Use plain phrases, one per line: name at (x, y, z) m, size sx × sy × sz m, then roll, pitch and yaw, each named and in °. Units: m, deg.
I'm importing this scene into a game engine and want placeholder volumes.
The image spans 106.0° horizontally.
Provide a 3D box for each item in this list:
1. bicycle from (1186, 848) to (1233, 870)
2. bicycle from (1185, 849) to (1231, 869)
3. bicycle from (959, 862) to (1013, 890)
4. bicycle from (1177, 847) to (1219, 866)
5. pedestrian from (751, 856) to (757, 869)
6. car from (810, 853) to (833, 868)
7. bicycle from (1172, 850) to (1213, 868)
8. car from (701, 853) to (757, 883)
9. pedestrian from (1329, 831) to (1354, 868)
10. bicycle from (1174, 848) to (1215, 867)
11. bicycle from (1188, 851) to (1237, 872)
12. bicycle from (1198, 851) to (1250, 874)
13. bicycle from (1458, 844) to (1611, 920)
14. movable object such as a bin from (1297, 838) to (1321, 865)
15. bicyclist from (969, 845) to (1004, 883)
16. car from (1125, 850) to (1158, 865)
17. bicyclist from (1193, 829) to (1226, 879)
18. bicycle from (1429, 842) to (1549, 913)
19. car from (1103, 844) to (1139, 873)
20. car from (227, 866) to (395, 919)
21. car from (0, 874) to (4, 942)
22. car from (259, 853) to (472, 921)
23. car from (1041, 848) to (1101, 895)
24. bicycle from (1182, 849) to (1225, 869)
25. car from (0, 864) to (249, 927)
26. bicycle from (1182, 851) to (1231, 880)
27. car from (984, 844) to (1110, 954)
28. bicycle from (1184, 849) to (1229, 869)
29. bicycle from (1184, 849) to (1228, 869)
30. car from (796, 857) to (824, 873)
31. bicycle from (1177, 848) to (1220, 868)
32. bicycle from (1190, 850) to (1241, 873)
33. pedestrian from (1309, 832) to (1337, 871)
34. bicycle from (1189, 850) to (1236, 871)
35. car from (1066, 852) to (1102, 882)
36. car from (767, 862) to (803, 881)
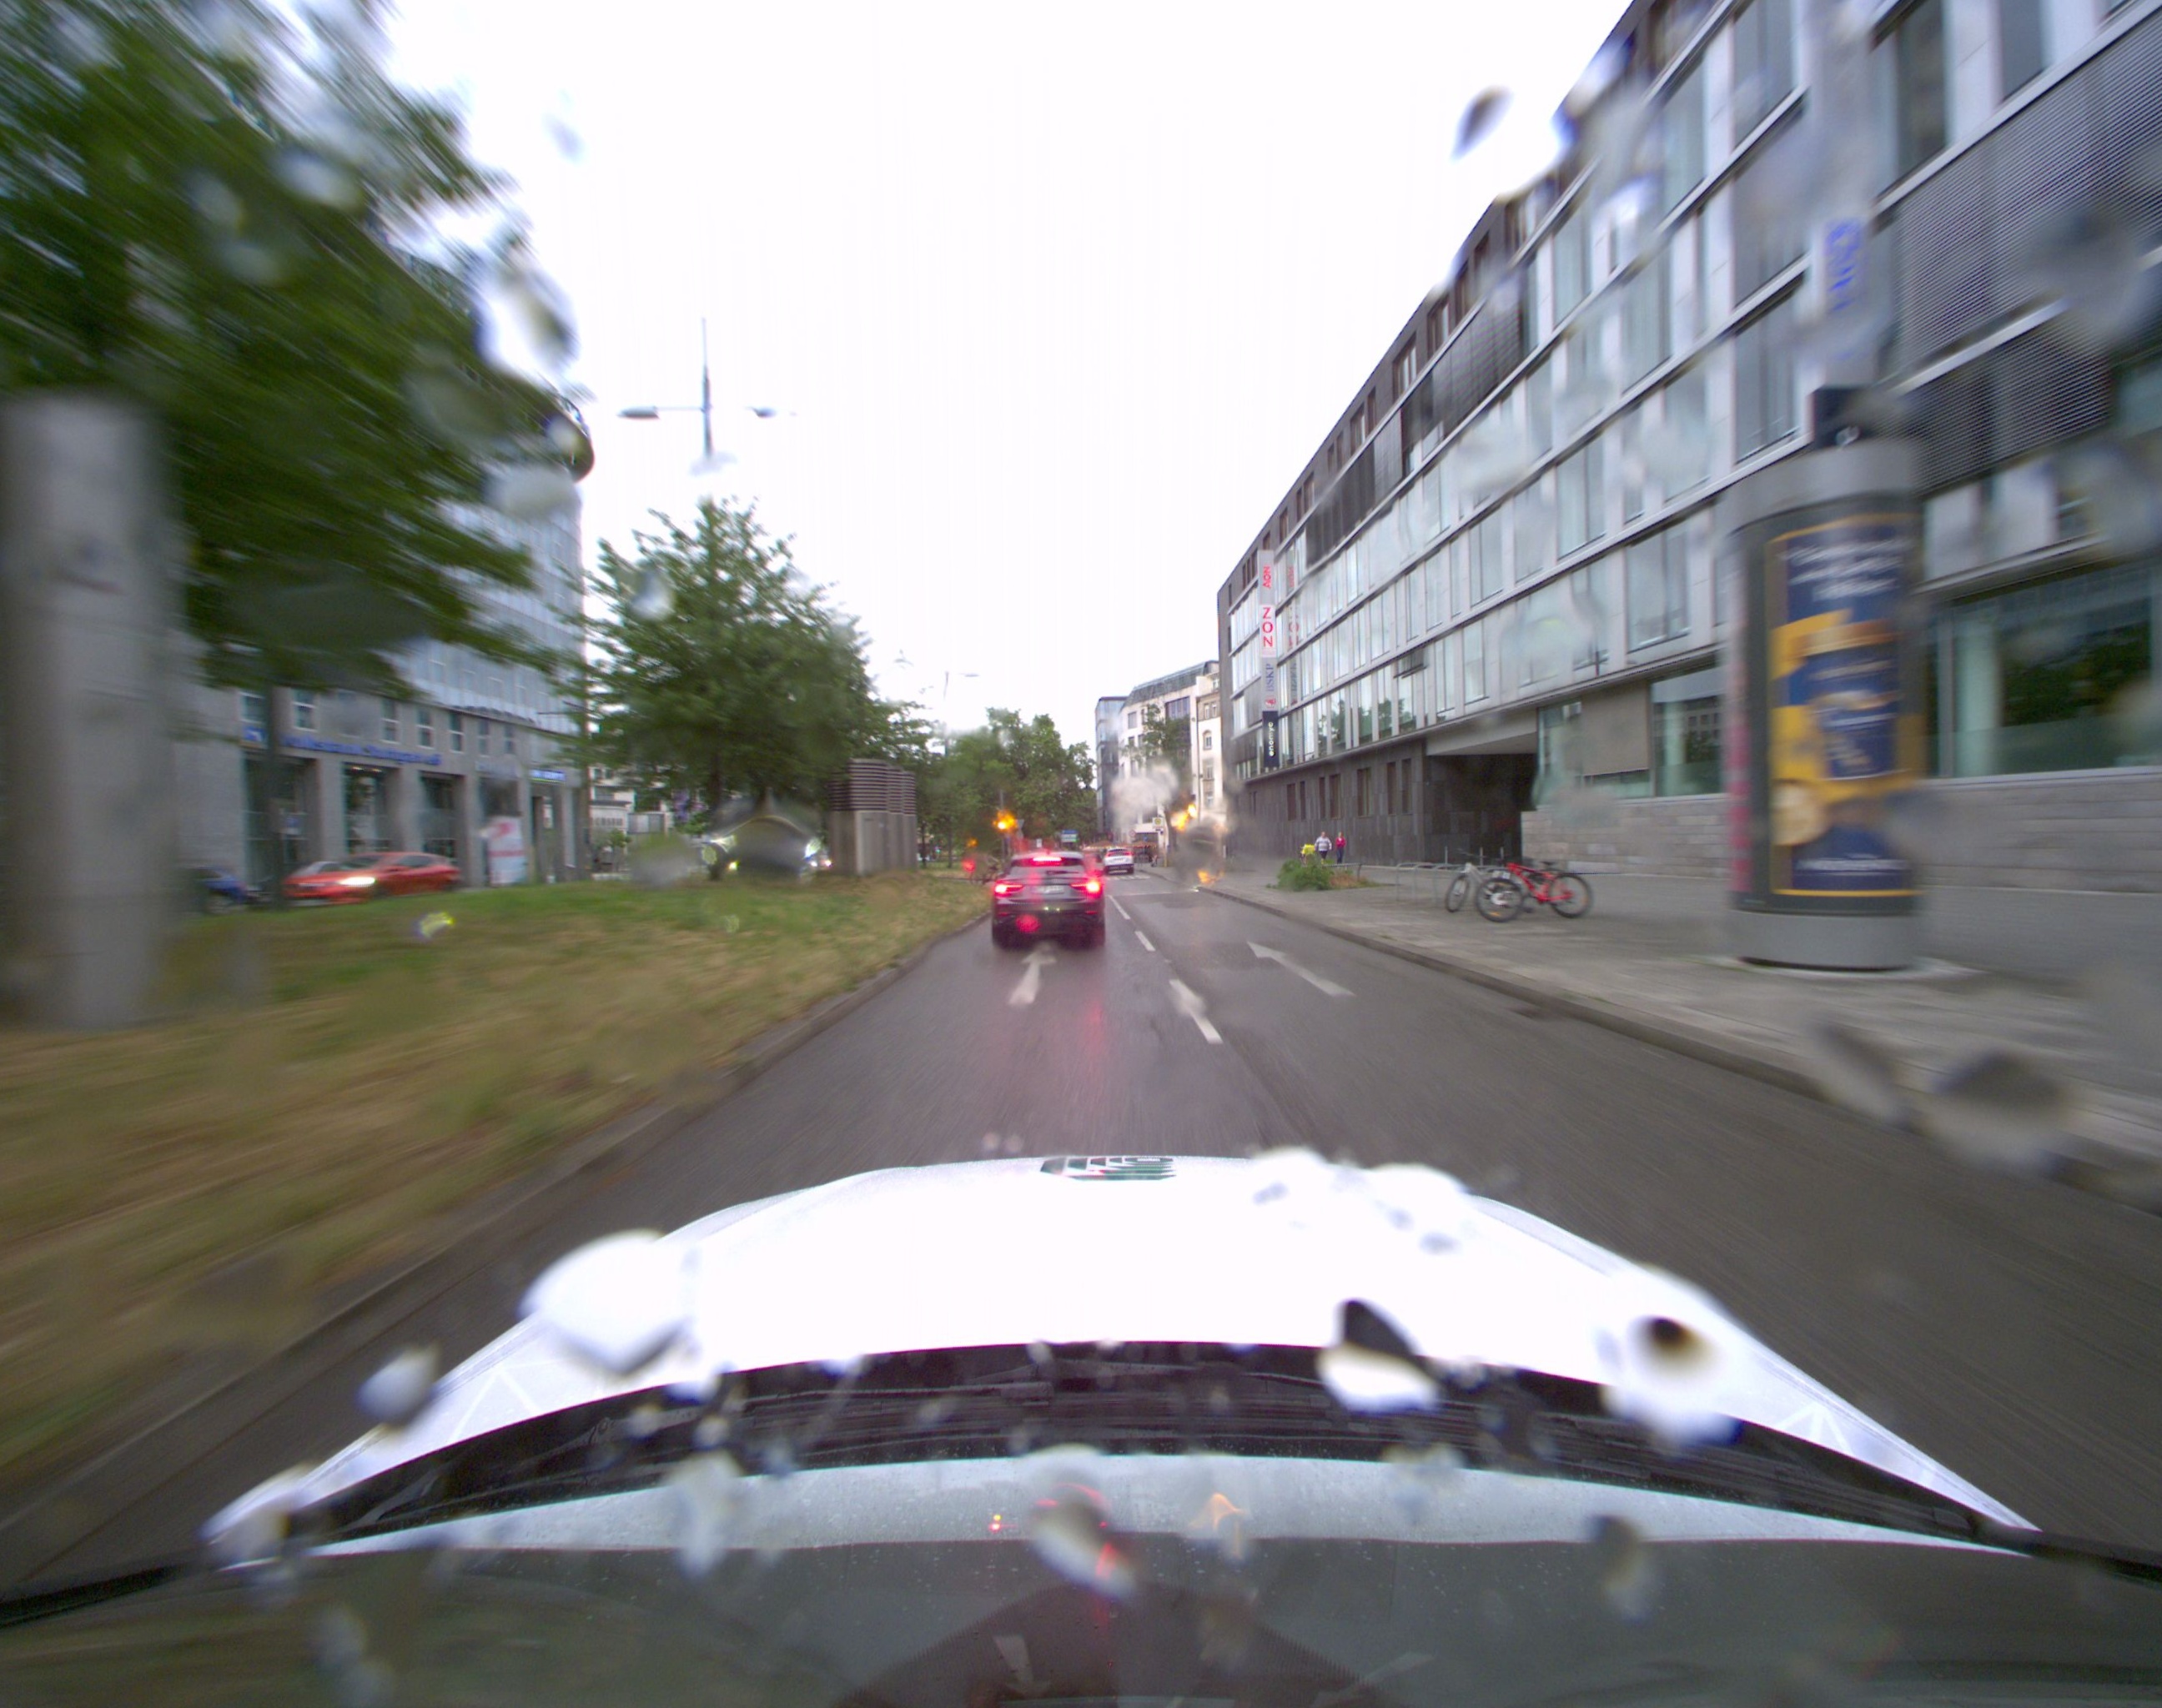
bicycle at (7.342, 0.282, 46.529) m, size 2.530 × 1.087 × 0.677 m, roll -3°, pitch 0°, yaw -3°
bicycle at (7.381, 0.282, 47.395) m, size 2.530 × 1.060 × 0.677 m, roll -3°, pitch 0°, yaw -3°
bicycle at (-4.049, 0.926, 34.890) m, size 2.043 × 1.114 × 1.017 m, roll 1°, pitch 0°, yaw 21°
bicycle at (7.458, 0.148, 52.073) m, size 2.530 × 1.087 × 0.677 m, roll -3°, pitch 0°, yaw -3°
pedestrian at (-51.034, 1.291, 127.239) m, size 0.790 × 2.014 × 0.737 m, roll 0°, pitch 0°, yaw -14°
car at (-31.289, 0.781, 98.271) m, size 1.723 × 1.727 × 4.572 m, roll -2°, pitch 0°, yaw -7°
bicycle at (7.357, 0.311, 53.713) m, size 2.530 × 1.087 × 0.677 m, roll -3°, pitch 0°, yaw -3°
car at (-21.095, 0.805, 48.973) m, size 1.943 × 1.700 × 3.991 m, roll -2°, pitch 0°, yaw -7°
pedestrian at (12.599, -0.223, 39.423) m, size 0.716 × 1.690 × 1.099 m, roll -4°, pitch 0°, yaw -3°
bicycle at (7.372, 0.239, 52.965) m, size 2.530 × 1.087 × 0.677 m, roll -3°, pitch 0°, yaw -3°
bicycle at (7.036, 0.398, 43.644) m, size 2.530 × 1.087 × 0.677 m, roll 0°, pitch 0°, yaw -3°
bicycle at (7.253, 0.418, 41.354) m, size 2.530 × 1.057 × 0.677 m, roll -2°, pitch 0°, yaw -3°
bicycle at (7.311, 0.437, 13.207) m, size 1.974 × 1.104 × 0.809 m, roll -3°, pitch 0°, yaw 5°
movable object such as a bin at (11.364, -0.132, 40.622) m, size 0.729 × 1.264 × 1.444 m, roll -4°, pitch 0°, yaw -1°
bicyclist at (-4.039, 0.437, 34.899) m, size 1.123 × 1.582 × 1.020 m, roll 0°, pitch 0°, yaw 21°
car at (7.527, 0.419, 101.597) m, size 3.972 × 1.647 × 2.001 m, roll 2°, pitch 0°, yaw 1°
bicyclist at (5.528, 0.011, 34.990) m, size 1.090 × 2.083 × 0.754 m, roll -2°, pitch -1°, yaw -37°
bicycle at (7.516, 0.423, 15.056) m, size 1.827 × 1.197 × 0.661 m, roll -3°, pitch 0°, yaw 5°
car at (2.534, 0.270, 51.272) m, size 2.170 × 1.700 × 4.004 m, roll -2°, pitch 0°, yaw 3°
car at (-25.024, 1.193, 26.691) m, size 1.772 × 1.401 × 4.011 m, roll -2°, pitch 1°, yaw -4°
car at (-23.319, 1.189, 14.601) m, size 1.771 × 1.401 × 4.682 m, roll -2°, pitch 1°, yaw -1°
car at (-17.671, 0.733, 20.432) m, size 1.859 × 1.429 × 4.125 m, roll -2°, pitch 1°, yaw -5°
car at (-0.413, 0.634, 32.562) m, size 2.156 × 1.706 × 4.551 m, roll -2°, pitch 0°, yaw -1°
bicycle at (7.610, 0.319, 50.475) m, size 2.530 × 1.087 × 0.677 m, roll -3°, pitch 0°, yaw -3°
car at (-24.518, 0.988, 20.924) m, size 1.889 × 1.325 × 4.469 m, roll -2°, pitch 0°, yaw -5°
bicycle at (5.377, 0.497, 34.846) m, size 2.143 × 1.145 × 0.754 m, roll -2°, pitch -1°, yaw -37°
car at (-0.431, 0.652, 14.335) m, size 1.840 × 1.616 × 4.255 m, roll -1°, pitch 1°, yaw 2°
bicycle at (7.444, 0.284, 48.303) m, size 2.530 × 1.087 × 0.677 m, roll -3°, pitch 0°, yaw -3°
bicycle at (7.584, 0.322, 49.496) m, size 2.530 × 1.087 × 0.677 m, roll -3°, pitch 0°, yaw -3°
car at (-27.551, 1.083, 82.988) m, size 1.817 × 1.475 × 4.183 m, roll -2°, pitch 0°, yaw -7°
bicycle at (7.399, 0.246, 51.322) m, size 2.530 × 1.087 × 0.677 m, roll -3°, pitch 0°, yaw -3°
bicycle at (7.082, 0.393, 42.838) m, size 2.530 × 1.087 × 0.677 m, roll -2°, pitch 0°, yaw -3°
pedestrian at (11.641, -0.118, 39.221) m, size 0.898 × 1.792 × 1.045 m, roll -4°, pitch 0°, yaw -3°
bicycle at (7.371, 0.365, 45.716) m, size 2.530 × 1.087 × 0.677 m, roll -3°, pitch 0°, yaw -3°
car at (0.210, 0.718, 47.605) m, size 1.938 × 1.646 × 4.247 m, roll -2°, pitch 0°, yaw 2°
car at (-24.884, 1.457, 68.600) m, size 1.866 × 1.475 × 3.991 m, roll -2°, pitch 0°, yaw -7°
